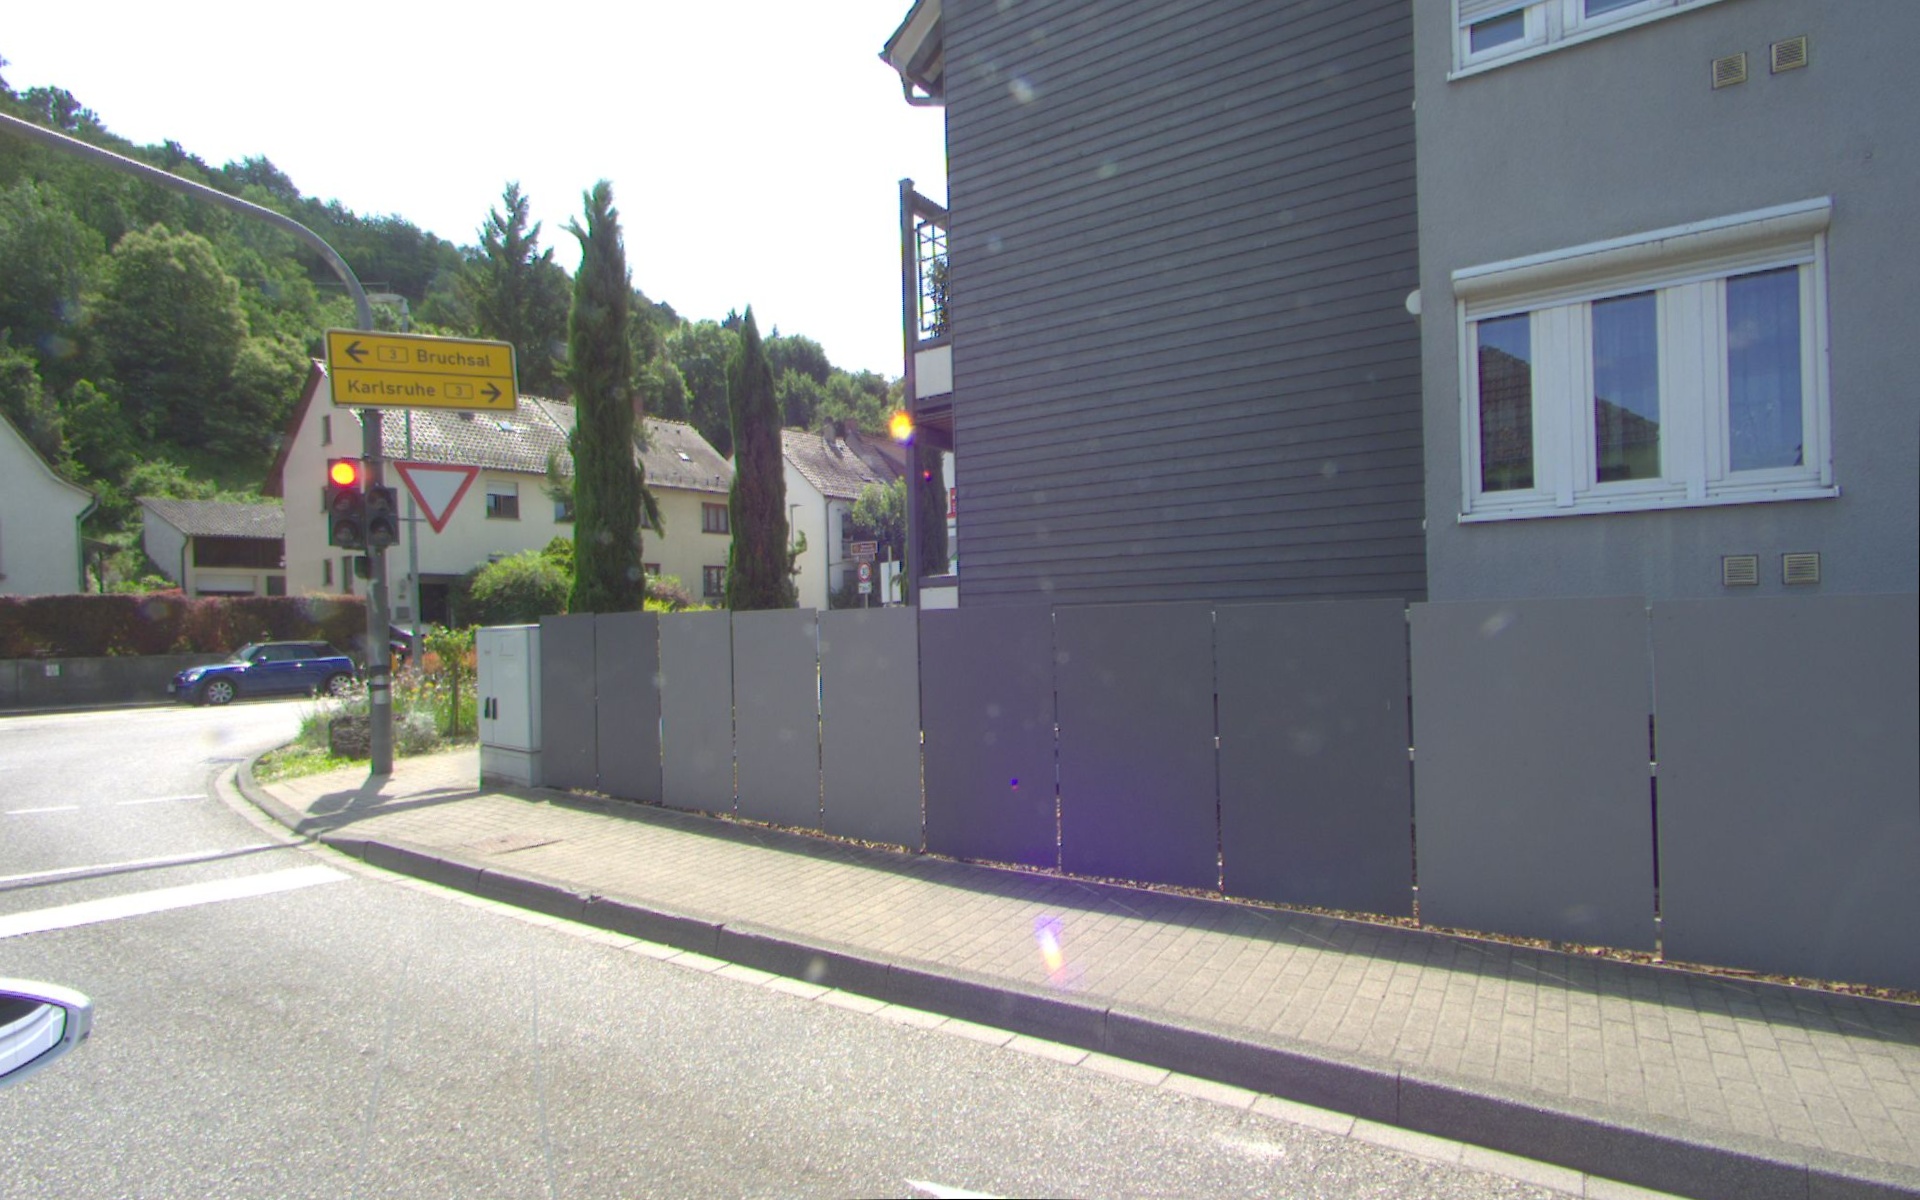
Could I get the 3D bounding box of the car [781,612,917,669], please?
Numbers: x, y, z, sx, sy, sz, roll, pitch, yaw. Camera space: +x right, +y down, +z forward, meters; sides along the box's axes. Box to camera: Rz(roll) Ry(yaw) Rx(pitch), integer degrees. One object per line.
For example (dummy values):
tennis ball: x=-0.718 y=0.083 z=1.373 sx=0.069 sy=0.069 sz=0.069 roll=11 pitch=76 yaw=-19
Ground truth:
car: x=-3.823 y=1.409 z=35.356 sx=1.975 sy=1.844 sz=4.857 roll=-4 pitch=-3 yaw=37

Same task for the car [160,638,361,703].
car: x=-16.465 y=1.628 z=23.708 sx=1.624 sy=1.379 sz=3.597 roll=-5 pitch=-4 yaw=36

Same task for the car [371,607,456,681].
car: x=-17.280 y=1.318 z=31.574 sx=1.780 sy=1.410 sz=3.650 roll=0 pitch=12 yaw=-38
